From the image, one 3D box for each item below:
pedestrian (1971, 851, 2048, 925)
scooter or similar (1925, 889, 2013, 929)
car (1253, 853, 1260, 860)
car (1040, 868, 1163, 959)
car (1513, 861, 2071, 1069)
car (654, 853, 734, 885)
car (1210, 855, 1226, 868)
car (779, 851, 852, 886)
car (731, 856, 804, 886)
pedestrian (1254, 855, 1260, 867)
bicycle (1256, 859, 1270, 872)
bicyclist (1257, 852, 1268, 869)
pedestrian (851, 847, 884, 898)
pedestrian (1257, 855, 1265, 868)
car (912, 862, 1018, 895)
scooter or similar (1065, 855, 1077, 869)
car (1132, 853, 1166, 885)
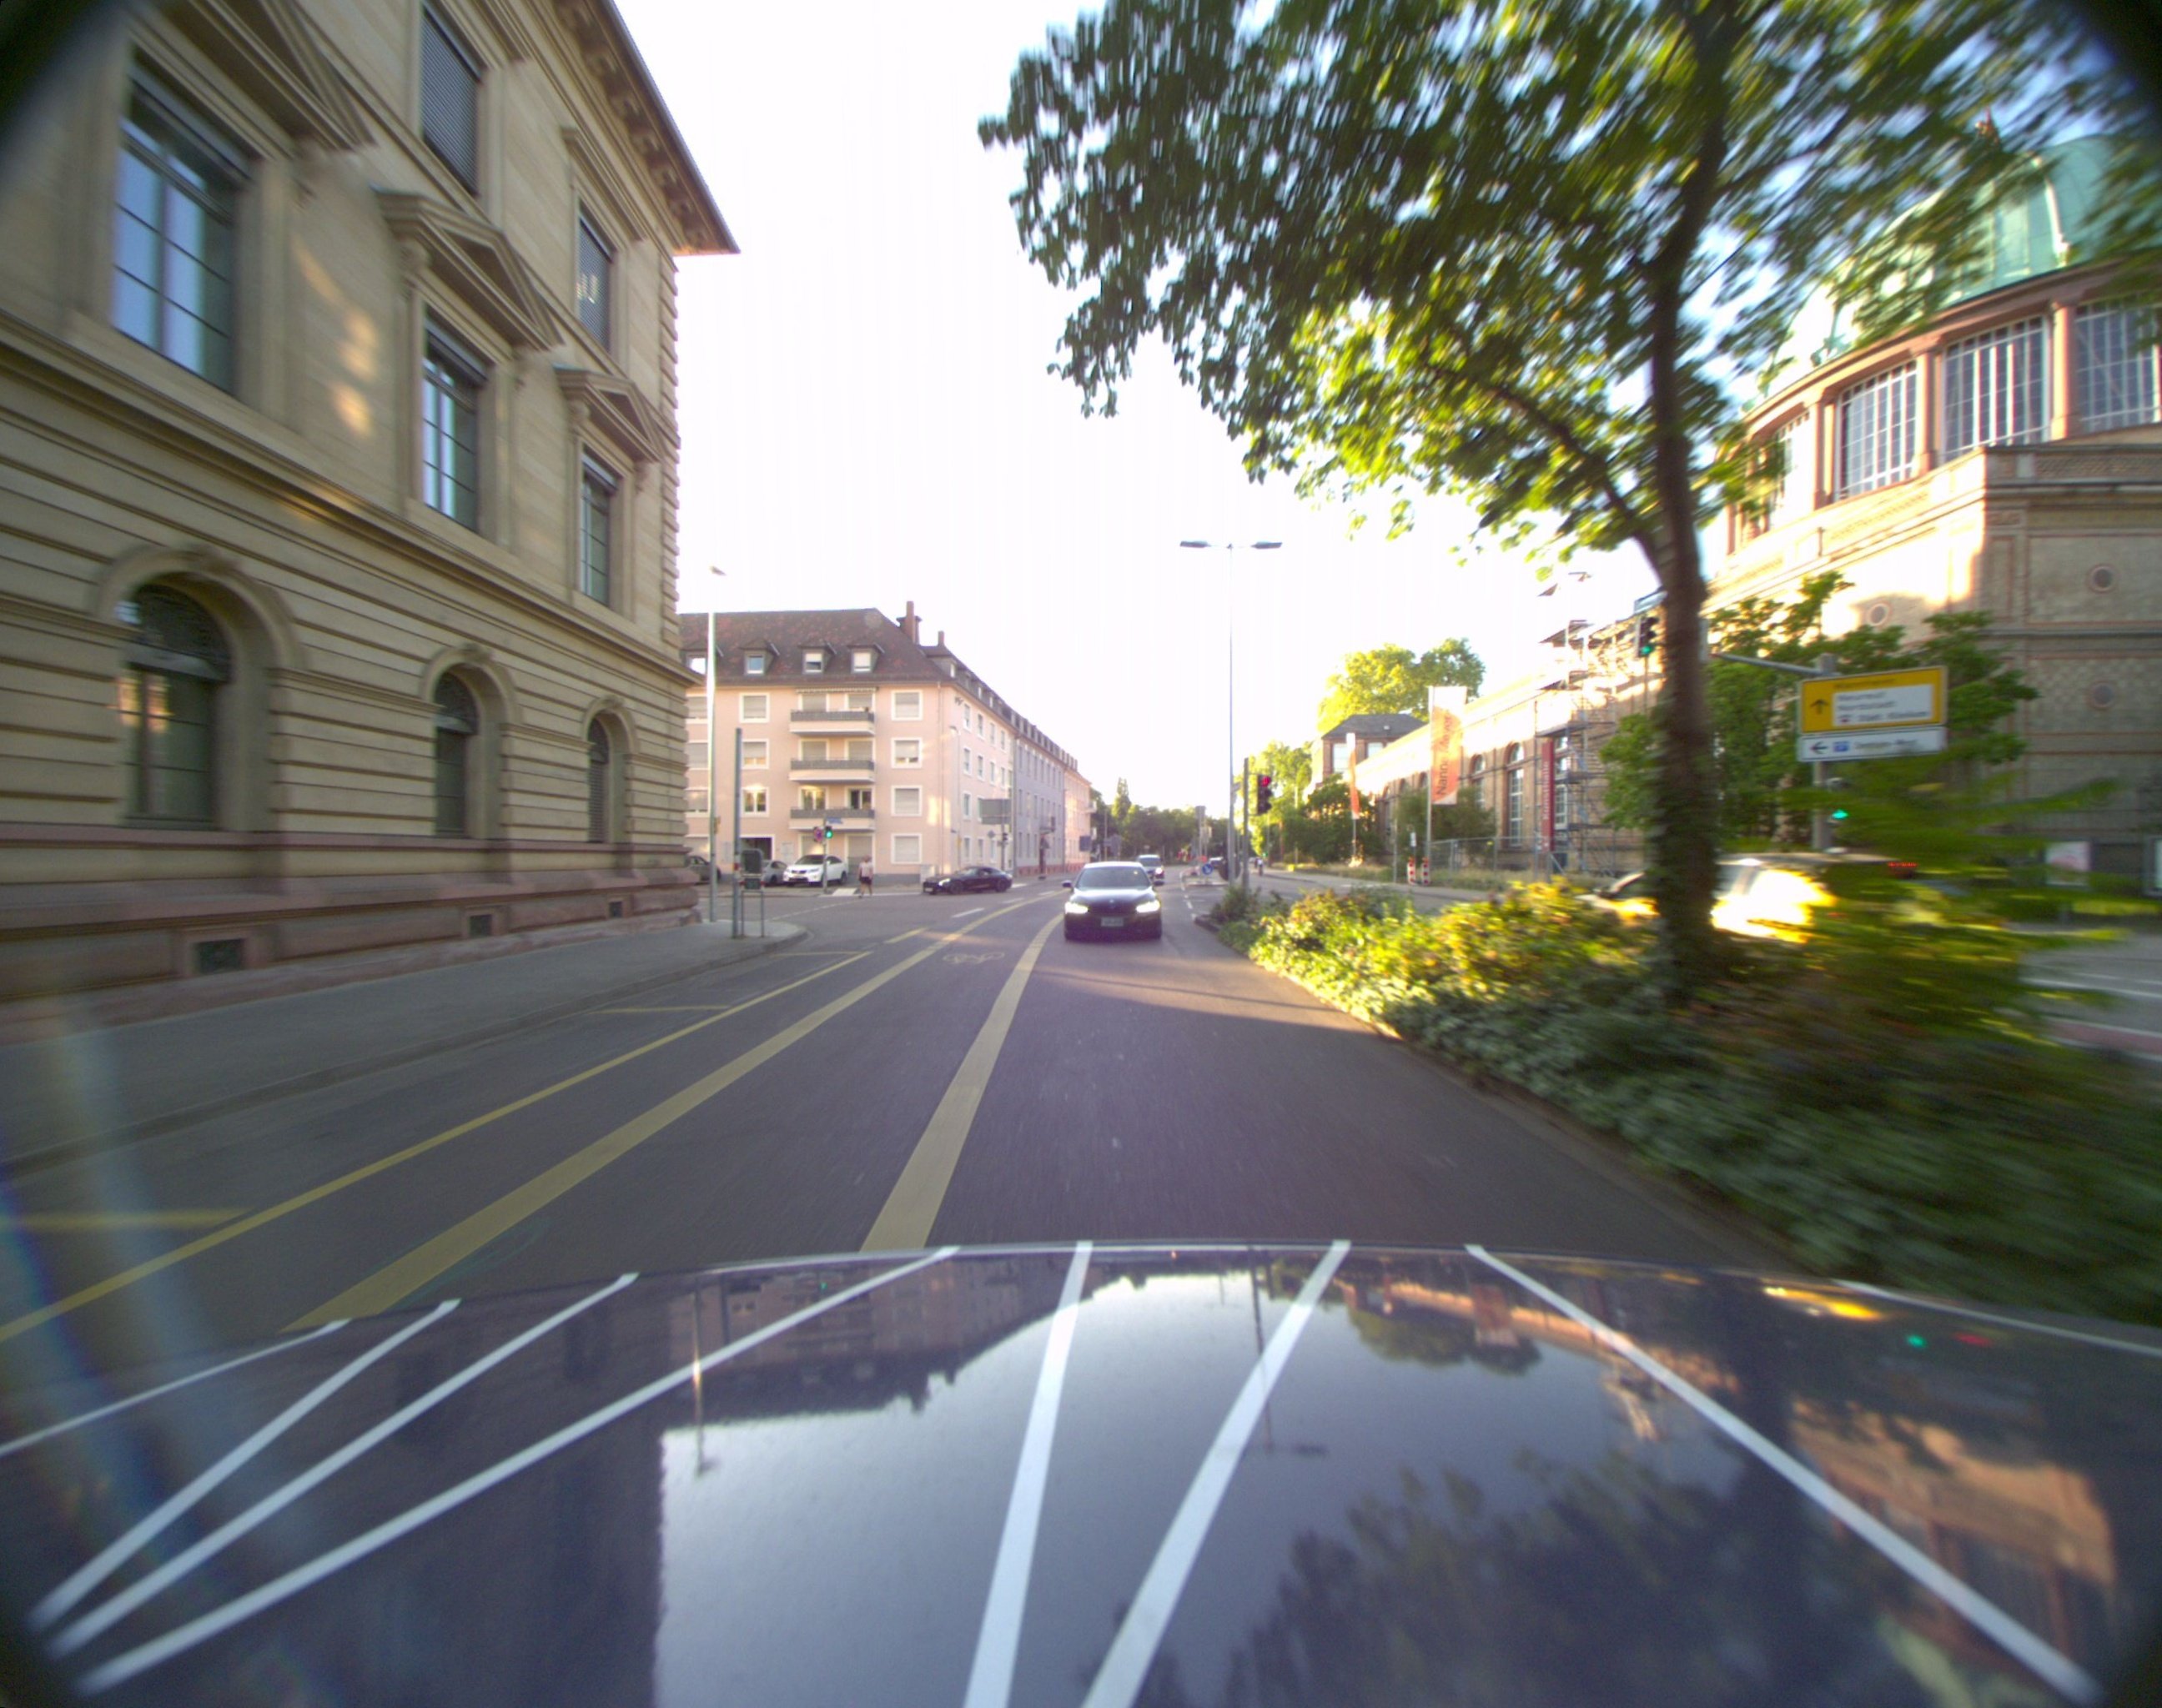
[{"bbox_3d":[20.096,0.718,16.466,0.737,1.569,0.763,0,0,1],"label":"pedestrian"},{"bbox_3d":[18.891,1.158,16.184,0.679,0.773,1.029,0,0,1],"label":"scooter or similar"},{"bbox_3d":[47.372,0.643,205.063,1.918,1.674,4.005,0,0,15],"label":"car"},{"bbox_3d":[0.597,1.042,15.154,1.963,1.378,4.784,0,0,7],"label":"car"},{"bbox_3d":[6.601,0.870,7.852,1.850,1.538,4.118,0,0,-1],"label":"car"},{"bbox_3d":[-20.753,0.751,40.994,2.010,1.538,4.056,0,2,4],"label":"car"},{"bbox_3d":[16.173,0.860,89.690,1.826,1.499,4.431,0,0,10],"label":"car"},{"bbox_3d":[-13.728,0.711,39.604,1.998,1.739,4.476,0,0,4],"label":"car"},{"bbox_3d":[-16.340,0.864,39.832,1.923,1.504,4.030,0,0,4],"label":"car"},{"bbox_3d":[23.082,0.867,99.665,0.675,1.504,0.836,-4,-2,12],"label":"pedestrian"},{"bbox_3d":[16.096,0.989,67.307,0.755,1.084,1.933,2,0,1],"label":"bicycle"},{"bbox_3d":[16.101,0.573,67.343,0.749,1.452,0.937,1,0,1],"label":"bicyclist"},{"bbox_3d":[-8.561,0.725,30.496,0.785,2.002,0.996,0,0,22],"label":"pedestrian"},{"bbox_3d":[23.643,1.004,99.582,0.806,1.728,0.851,0,0,32],"label":"pedestrian"},{"bbox_3d":[-5.259,1.089,34.813,2.179,1.293,4.366,-2,0,43],"label":"car"},{"bbox_3d":[-1.028,0.857,80.115,0.726,1.450,1.674,2,1,18],"label":"scooter or similar"},{"bbox_3d":[3.927,0.830,44.485,1.838,1.674,4.224,-2,0,4],"label":"car"}]
